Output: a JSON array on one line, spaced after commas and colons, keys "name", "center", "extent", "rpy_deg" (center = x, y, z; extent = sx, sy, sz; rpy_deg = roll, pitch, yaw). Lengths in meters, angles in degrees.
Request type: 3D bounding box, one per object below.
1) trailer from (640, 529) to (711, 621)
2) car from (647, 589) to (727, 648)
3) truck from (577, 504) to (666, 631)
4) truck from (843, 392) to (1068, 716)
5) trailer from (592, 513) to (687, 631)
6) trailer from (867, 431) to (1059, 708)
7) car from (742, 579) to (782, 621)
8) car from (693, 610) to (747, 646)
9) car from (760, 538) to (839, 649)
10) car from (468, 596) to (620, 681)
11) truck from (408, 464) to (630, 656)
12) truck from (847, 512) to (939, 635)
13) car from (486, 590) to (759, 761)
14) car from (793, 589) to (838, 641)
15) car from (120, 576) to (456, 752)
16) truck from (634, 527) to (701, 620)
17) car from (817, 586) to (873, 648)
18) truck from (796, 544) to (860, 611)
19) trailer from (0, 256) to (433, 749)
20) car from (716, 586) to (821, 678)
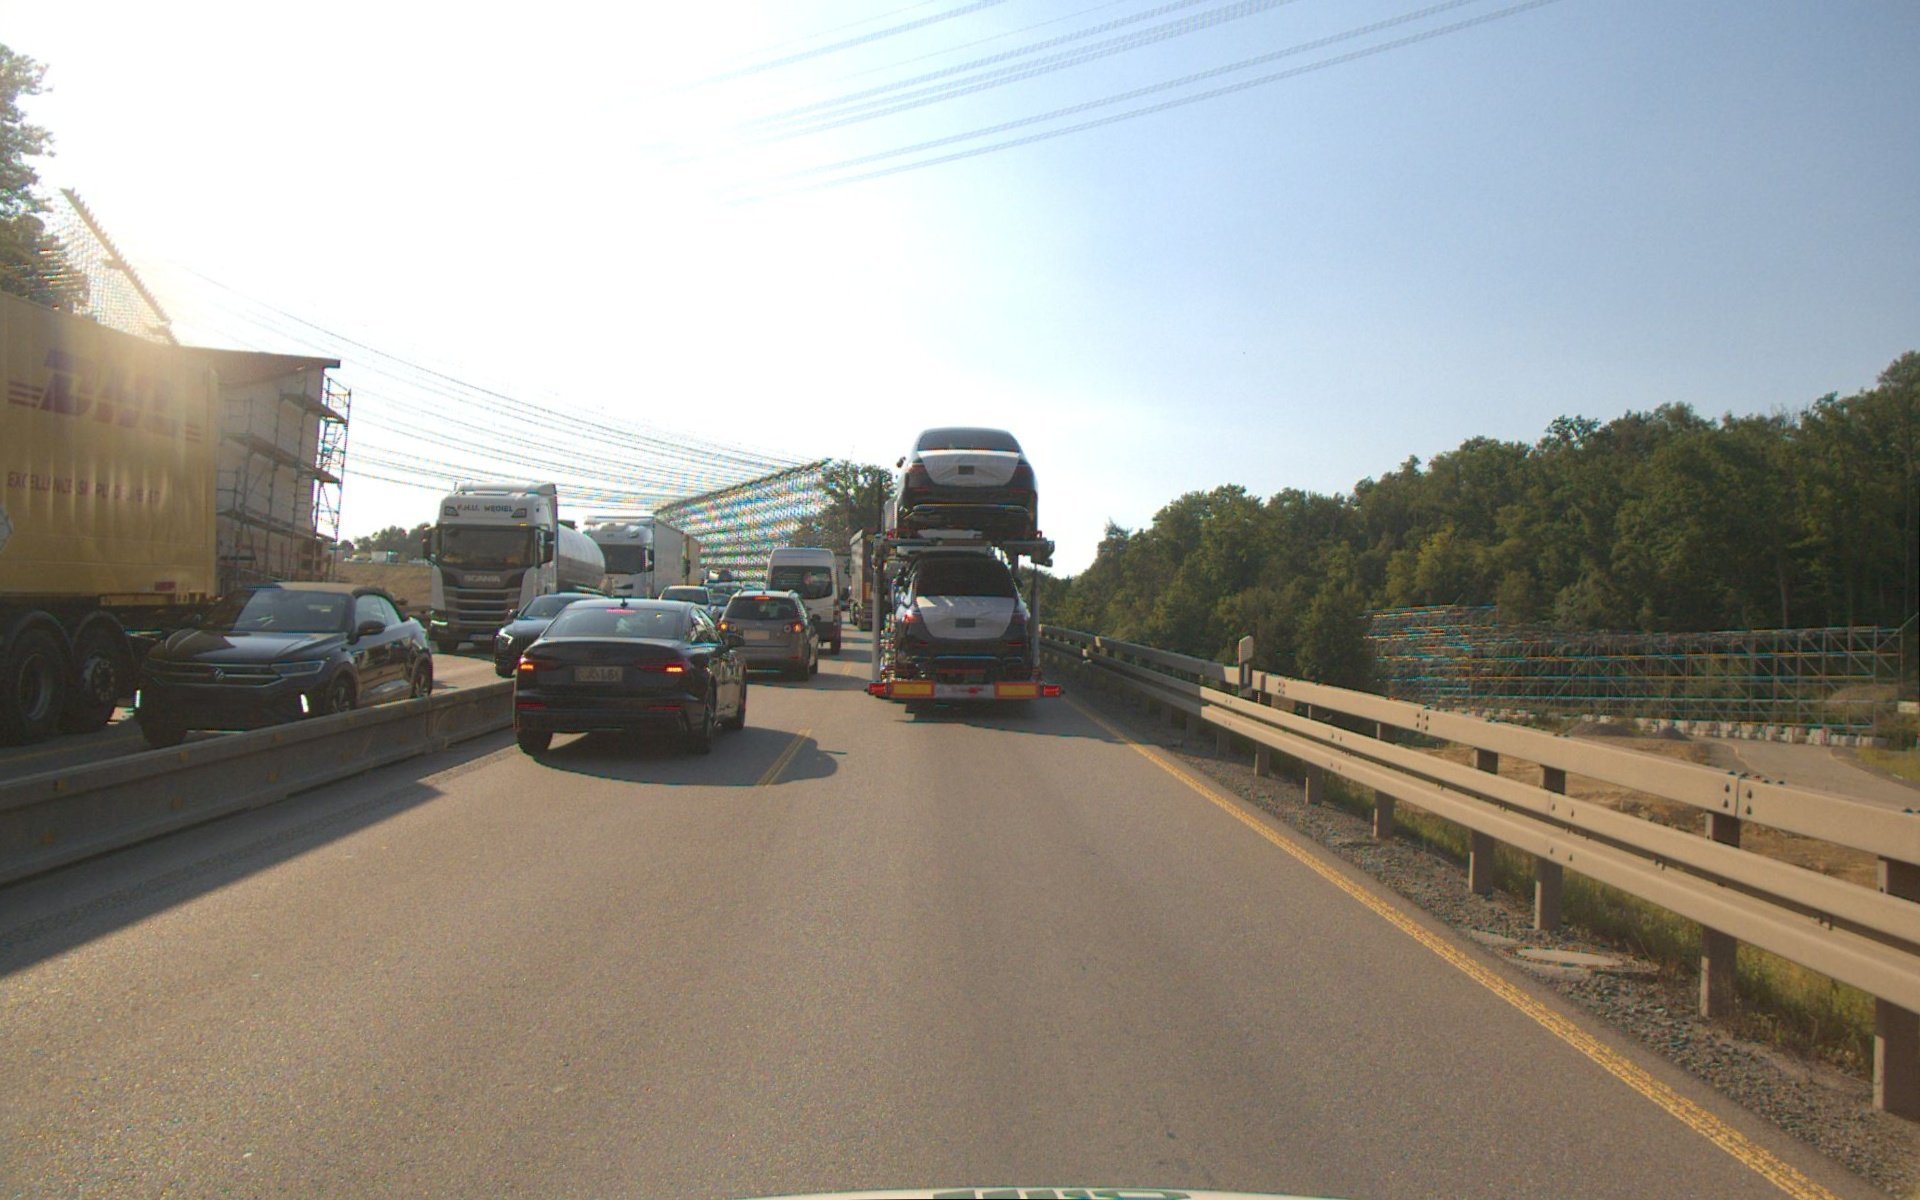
[{"name": "trailer", "center": [-15.131, -1.141, 88.921], "extent": [2.838, 4.471, 14.358], "rpy_deg": [0, -1, -6]}, {"name": "car", "center": [-8.143, 0.561, 49.652], "extent": [1.809, 1.676, 4.557], "rpy_deg": [0, -1, -3]}, {"name": "truck", "center": [-12.181, -1.060, 59.971], "extent": [2.396, 4.347, 6.315], "rpy_deg": [0, -1, -5]}, {"name": "truck", "center": [0.024, -0.534, 23.554], "extent": [2.810, 4.050, 5.772], "rpy_deg": [0, -1, 1]}, {"name": "trailer", "center": [-12.794, -0.948, 66.975], "extent": [2.405, 4.340, 12.133], "rpy_deg": [0, -1, -5]}, {"name": "trailer", "center": [-0.204, -0.317, 31.954], "extent": [2.817, 4.064, 15.272], "rpy_deg": [0, -1, -2]}, {"name": "car", "center": [-9.529, -0.019, 79.962], "extent": [1.797, 1.950, 4.859], "rpy_deg": [1, 1, -6]}, {"name": "car", "center": [-8.926, 1.045, 61.773], "extent": [1.677, 1.274, 4.048], "rpy_deg": [0, -1, -4]}, {"name": "car", "center": [-4.148, -0.123, 43.102], "extent": [1.940, 2.731, 4.142], "rpy_deg": [0, -1, -5]}, {"name": "car", "center": [-7.515, 0.689, 30.361], "extent": [1.704, 1.427, 4.900], "rpy_deg": [0, -1, -2]}, {"name": "truck", "center": [-11.119, -0.860, 43.473], "extent": [2.754, 4.039, 13.882], "rpy_deg": [4, 0, -4]}, {"name": "truck", "center": [-3.001, -1.080, 70.276], "extent": [3.166, 4.758, 11.681], "rpy_deg": [1, 1, -6]}, {"name": "car", "center": [-3.326, 0.698, 17.373], "extent": [1.901, 1.506, 5.220], "rpy_deg": [0, -1, -1]}, {"name": "car", "center": [-5.801, 0.631, 66.145], "extent": [1.637, 2.019, 3.811], "rpy_deg": [0, -1, -7]}, {"name": "car", "center": [-6.537, 0.598, 16.625], "extent": [1.681, 1.534, 4.290], "rpy_deg": [0, -1, -1]}, {"name": "truck", "center": [-14.256, -1.216, 81.025], "extent": [2.838, 4.347, 5.763], "rpy_deg": [0, -1, -6]}, {"name": "car", "center": [-3.882, 0.583, 55.384], "extent": [1.637, 2.019, 3.811], "rpy_deg": [0, -1, -7]}, {"name": "truck", "center": [-10.068, -1.662, 124.764], "extent": [3.582, 4.758, 11.665], "rpy_deg": [1, 1, -11]}, {"name": "trailer", "center": [-9.821, -0.765, 19.369], "extent": [2.647, 4.278, 15.990], "rpy_deg": [0, -1, -2]}, {"name": "car", "center": [-3.516, 0.593, 30.938], "extent": [1.667, 1.615, 4.144], "rpy_deg": [0, -1, -3]}]
